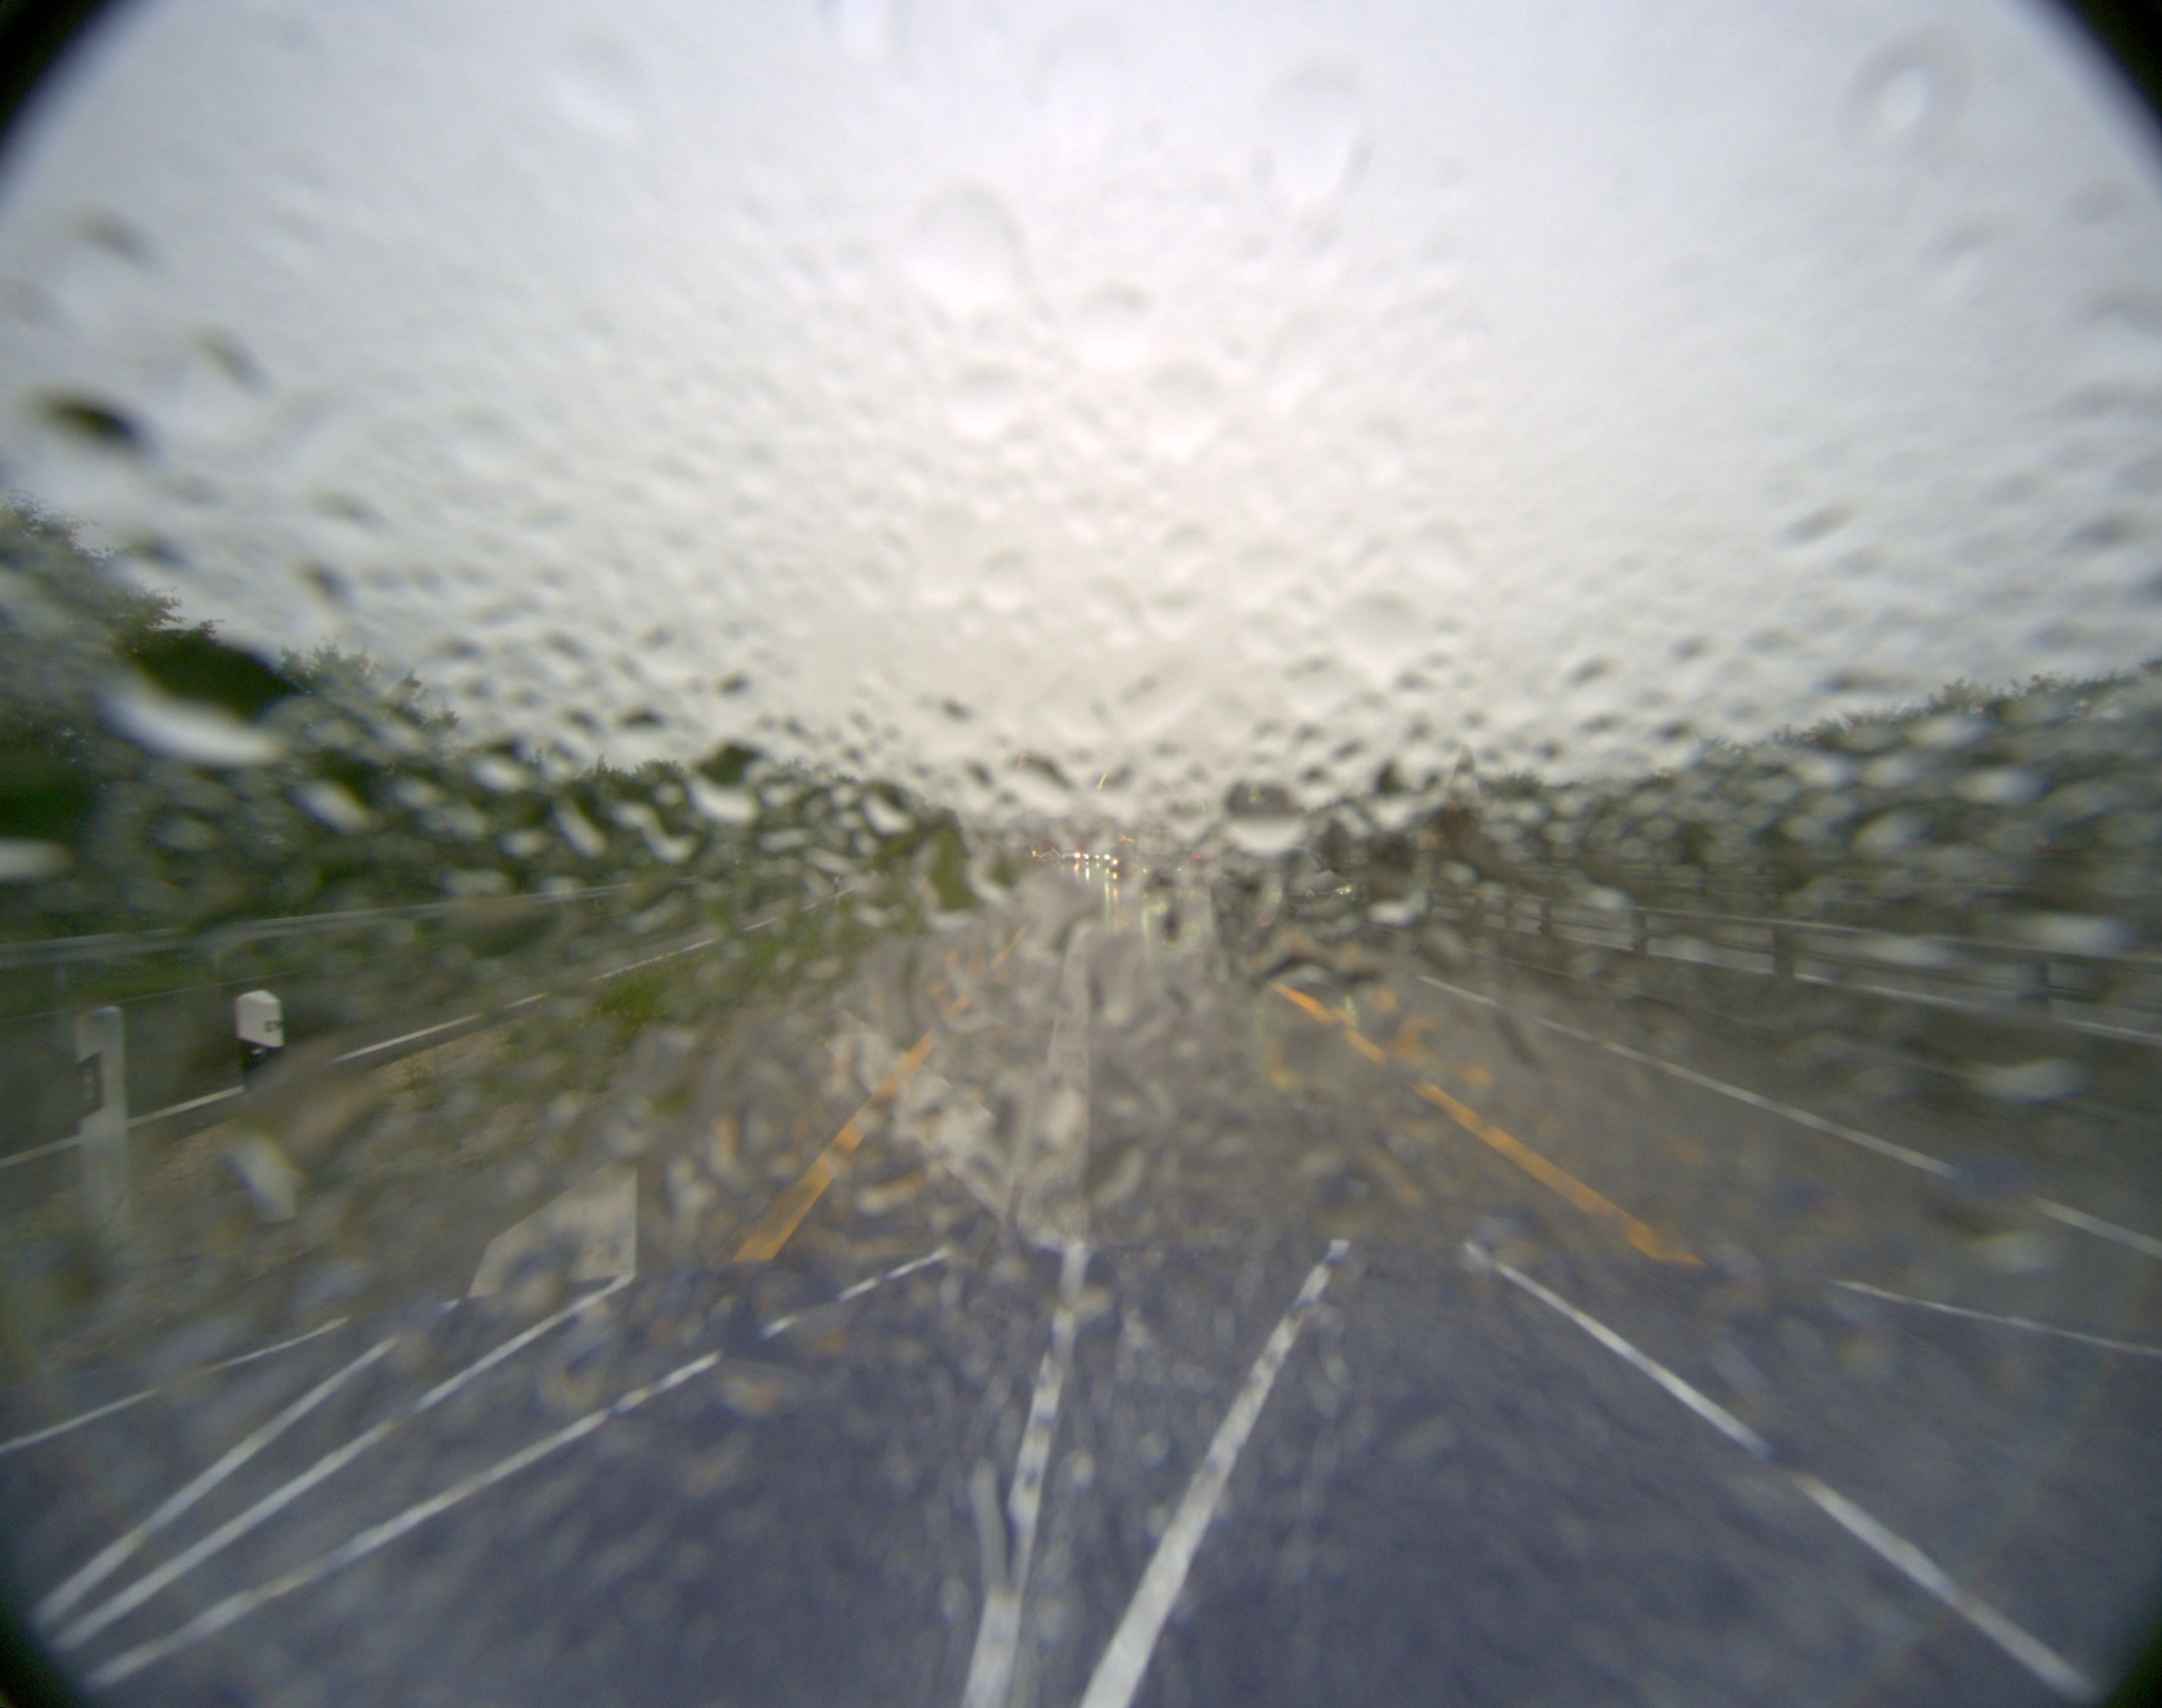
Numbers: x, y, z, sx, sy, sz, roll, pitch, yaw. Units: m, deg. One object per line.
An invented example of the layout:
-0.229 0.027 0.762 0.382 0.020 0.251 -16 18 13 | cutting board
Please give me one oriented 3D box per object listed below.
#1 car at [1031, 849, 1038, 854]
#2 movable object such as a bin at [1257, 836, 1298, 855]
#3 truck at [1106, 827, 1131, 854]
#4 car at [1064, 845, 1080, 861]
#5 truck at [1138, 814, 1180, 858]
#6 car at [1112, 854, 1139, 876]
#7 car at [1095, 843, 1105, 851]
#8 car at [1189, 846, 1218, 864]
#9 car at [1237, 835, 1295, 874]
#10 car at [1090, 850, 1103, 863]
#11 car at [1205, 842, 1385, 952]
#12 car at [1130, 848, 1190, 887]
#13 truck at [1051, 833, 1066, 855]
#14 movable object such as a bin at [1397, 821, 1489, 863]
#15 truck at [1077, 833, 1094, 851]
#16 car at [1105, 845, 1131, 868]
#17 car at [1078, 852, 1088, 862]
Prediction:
-15.688 -0.997 256.746 1.751 1.579 3.999 -2 1 0 | car
25.162 -1.054 97.378 3.448 2.281 5.098 -2 1 -6 | movable object such as a bin
7.206 -2.524 148.999 3.283 4.808 15.980 -2 1 -2 | truck
-1.057 -0.146 94.937 1.881 2.002 3.999 -2 1 0 | car
9.362 -2.059 92.871 3.282 4.808 15.983 -2 1 0 | truck
3.418 0.863 58.738 1.977 1.586 4.311 -1 -1 4 | car
4.275 -1.648 174.129 1.897 1.796 5.053 -2 1 -3 | car
10.071 0.084 62.871 1.705 1.420 3.832 -2 1 -1 | car
9.553 0.002 39.635 1.896 1.796 5.055 -2 1 2 | car
2.153 0.283 108.537 1.695 1.740 3.999 -2 1 0 | car
3.568 0.628 13.617 1.998 1.576 4.413 -2 1 1 | car
3.345 0.516 32.937 1.999 1.489 4.629 -2 1 -1 | car
-4.369 -2.005 149.165 2.484 4.061 8.703 -2 1 0 | truck
26.496 -0.875 55.987 3.774 2.782 6.329 -2 1 1 | movable object such as a bin
1.169 -3.213 208.664 3.593 4.808 15.980 -2 1 -3 | truck
3.600 0.213 74.397 2.211 2.002 5.563 -2 1 0 | car
0.358 0.543 130.594 1.845 1.586 3.999 0 1 0 | car
